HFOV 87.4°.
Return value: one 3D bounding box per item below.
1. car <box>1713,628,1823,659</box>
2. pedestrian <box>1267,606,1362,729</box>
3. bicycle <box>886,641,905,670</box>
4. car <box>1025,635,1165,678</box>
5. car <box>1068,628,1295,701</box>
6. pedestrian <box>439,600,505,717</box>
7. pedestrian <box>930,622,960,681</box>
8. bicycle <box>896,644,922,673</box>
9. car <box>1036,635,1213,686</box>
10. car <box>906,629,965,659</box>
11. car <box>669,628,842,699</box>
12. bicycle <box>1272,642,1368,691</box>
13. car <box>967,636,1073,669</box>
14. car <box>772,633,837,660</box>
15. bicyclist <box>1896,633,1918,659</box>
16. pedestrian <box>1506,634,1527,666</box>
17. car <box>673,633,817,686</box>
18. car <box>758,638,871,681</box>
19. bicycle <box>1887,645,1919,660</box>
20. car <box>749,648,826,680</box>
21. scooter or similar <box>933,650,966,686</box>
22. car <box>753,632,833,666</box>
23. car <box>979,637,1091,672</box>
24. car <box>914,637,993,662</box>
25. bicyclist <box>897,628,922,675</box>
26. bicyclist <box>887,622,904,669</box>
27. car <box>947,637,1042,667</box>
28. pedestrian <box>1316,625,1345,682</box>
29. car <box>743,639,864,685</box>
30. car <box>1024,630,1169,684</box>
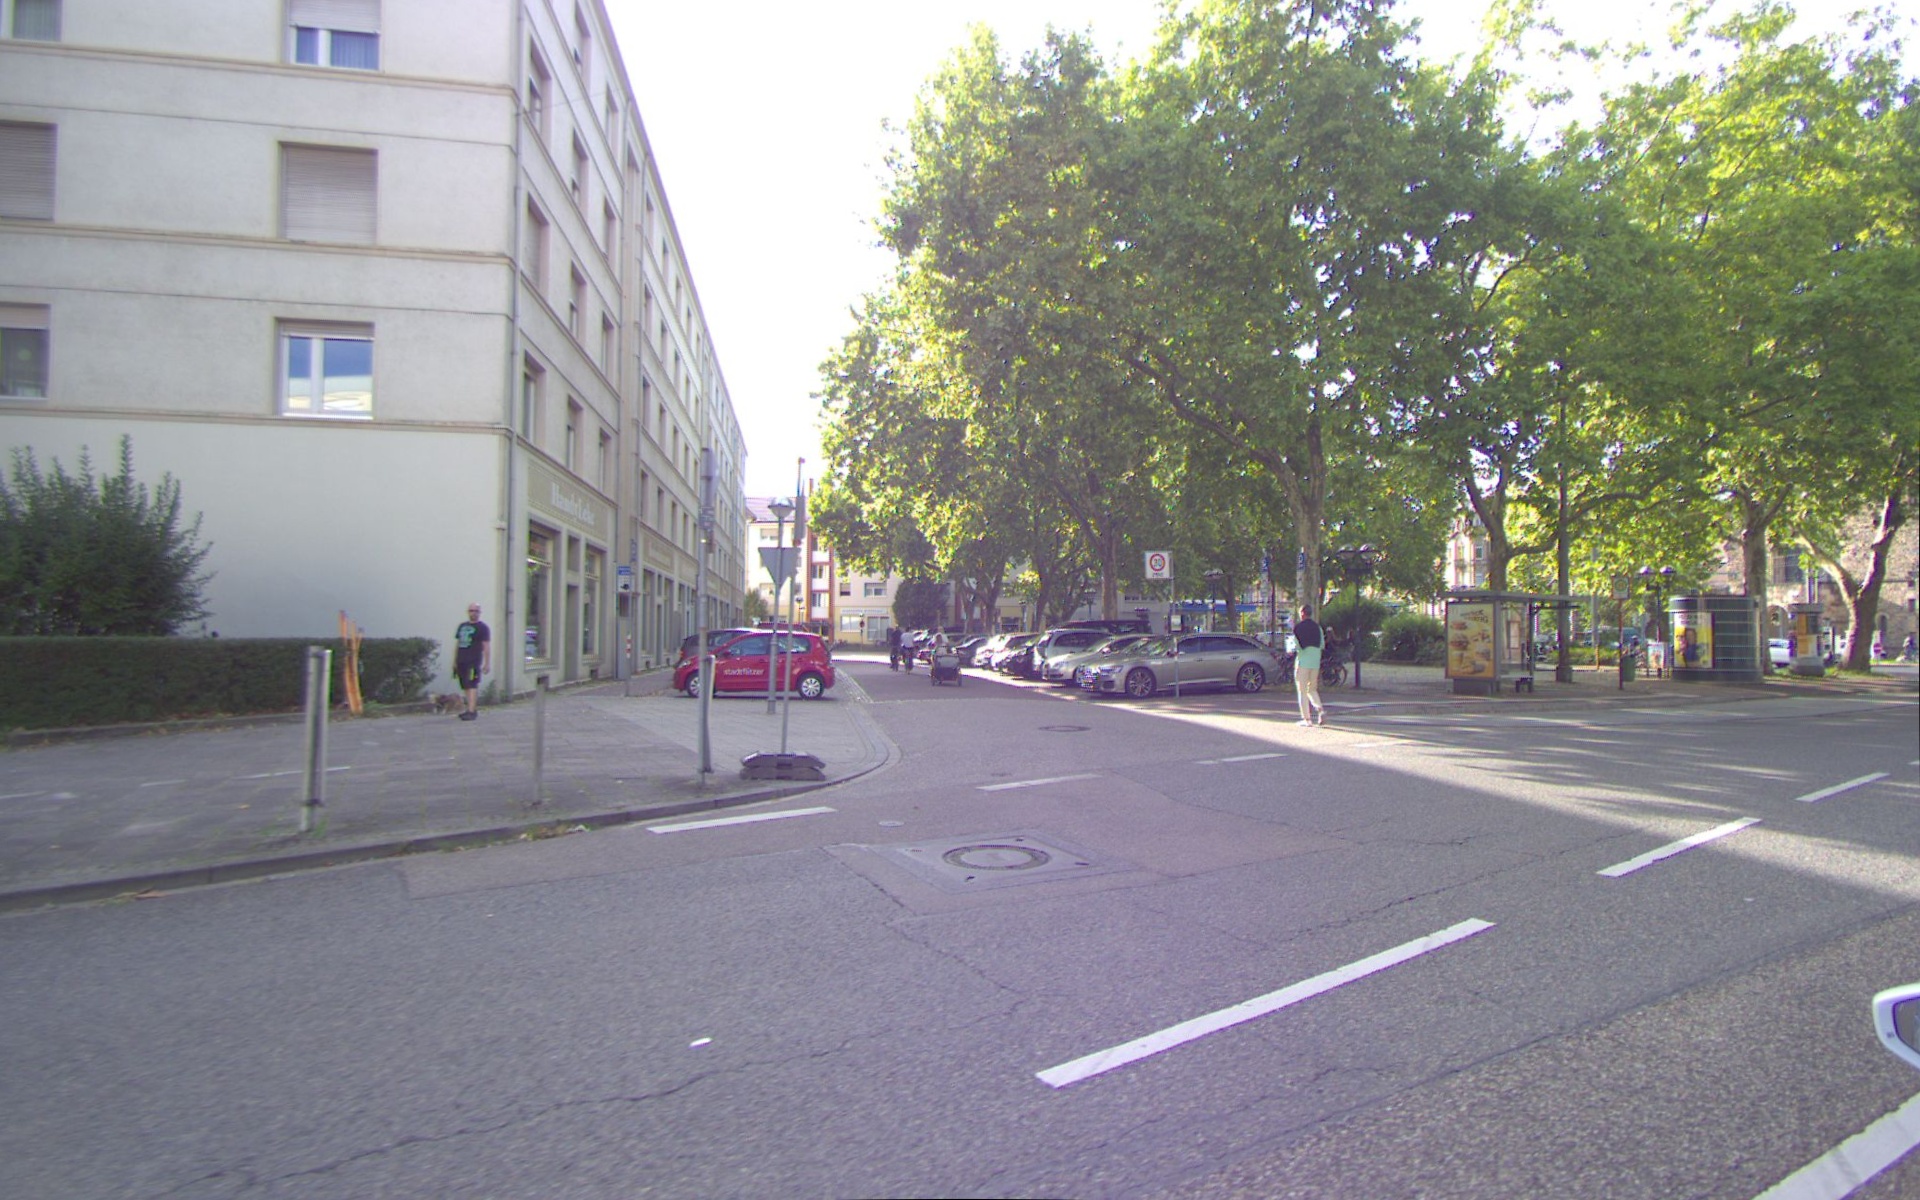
[{"bbox_3d":[46.467,2.513,57.910,1.982,1.705,4.711,1,-2,-13],"label":"car"},{"bbox_3d":[5.381,0.995,15.248,1.063,1.777,0.913,0,-1,45],"label":"pedestrian"},{"bbox_3d":[-2.667,2.265,41.420,0.629,1.146,1.924,1,-2,-8],"label":"bicycle"},{"bbox_3d":[4.516,1.884,33.778,4.309,1.396,1.857,1,-2,-11],"label":"car"},{"bbox_3d":[5.264,1.505,24.014,4.896,1.606,2.232,1,-2,-19],"label":"car"},{"bbox_3d":[-6.843,0.810,14.126,0.723,1.599,0.729,1,-2,-19],"label":"pedestrian"},{"bbox_3d":[-0.446,1.495,29.165,0.800,1.676,1.075,0,-2,-4],"label":"pedestrian"},{"bbox_3d":[-1.894,2.150,36.987,0.749,1.007,1.924,1,-2,-8],"label":"bicycle"},{"bbox_3d":[4.679,1.708,28.752,4.752,1.396,1.669,1,-2,-11],"label":"car"},{"bbox_3d":[-1.746,3.082,70.535,3.926,1.868,1.998,2,0,-7],"label":"car"},{"bbox_3d":[-4.482,1.396,22.413,3.638,1.497,1.594,1,-2,-8],"label":"car"},{"bbox_3d":[9.891,1.818,27.693,2.064,1.225,1.392,3,-2,-9],"label":"bicycle"},{"bbox_3d":[2.570,2.281,43.808,4.309,1.396,1.857,1,-2,-11],"label":"car"},{"bbox_3d":[-8.673,2.593,55.863,3.498,1.491,1.648,1,-2,-13],"label":"car"},{"bbox_3d":[61.916,2.985,65.674,0.705,1.684,0.726,0,-1,-3],"label":"bicyclist"},{"bbox_3d":[23.735,2.132,42.806,0.711,1.305,0.816,2,0,32],"label":"pedestrian"},{"bbox_3d":[-5.792,1.606,27.367,3.636,1.384,1.595,1,-2,-6],"label":"car"},{"bbox_3d":[-4.727,1.897,32.419,3.498,1.321,1.648,1,-2,-13],"label":"car"},{"bbox_3d":[61.802,3.422,65.611,1.887,0.993,0.638,0,-2,-1],"label":"bicycle"},{"bbox_3d":[-8.123,2.993,47.315,3.498,1.463,1.648,1,-2,-13],"label":"car"},{"bbox_3d":[-0.296,1.868,27.733,0.793,0.935,1.013,1,-2,-9],"label":"scooter or similar"},{"bbox_3d":[-7.515,2.192,45.140,3.498,1.492,1.648,1,-2,-13],"label":"car"},{"bbox_3d":[3.082,2.236,41.459,4.309,1.396,1.857,1,-2,-11],"label":"car"},{"bbox_3d":[-0.388,2.857,57.618,4.309,1.396,1.857,1,-2,-11],"label":"car"},{"bbox_3d":[-1.864,1.889,37.104,0.799,1.714,1.112,1,-2,-9],"label":"bicyclist"},{"bbox_3d":[-2.686,1.877,41.465,0.626,1.920,0.772,1,-1,-9],"label":"bicyclist"},{"bbox_3d":[1.664,2.533,48.989,4.309,1.396,1.857,1,-2,-11],"label":"car"},{"bbox_3d":[11.462,1.656,31.076,0.698,1.738,0.498,1,-2,-31],"label":"pedestrian"},{"bbox_3d":[-4.724,1.837,30.198,3.498,1.321,1.648,1,-2,-13],"label":"car"},{"bbox_3d":[4.258,1.772,31.563,4.200,1.638,1.681,1,-2,-11],"label":"car"}]
